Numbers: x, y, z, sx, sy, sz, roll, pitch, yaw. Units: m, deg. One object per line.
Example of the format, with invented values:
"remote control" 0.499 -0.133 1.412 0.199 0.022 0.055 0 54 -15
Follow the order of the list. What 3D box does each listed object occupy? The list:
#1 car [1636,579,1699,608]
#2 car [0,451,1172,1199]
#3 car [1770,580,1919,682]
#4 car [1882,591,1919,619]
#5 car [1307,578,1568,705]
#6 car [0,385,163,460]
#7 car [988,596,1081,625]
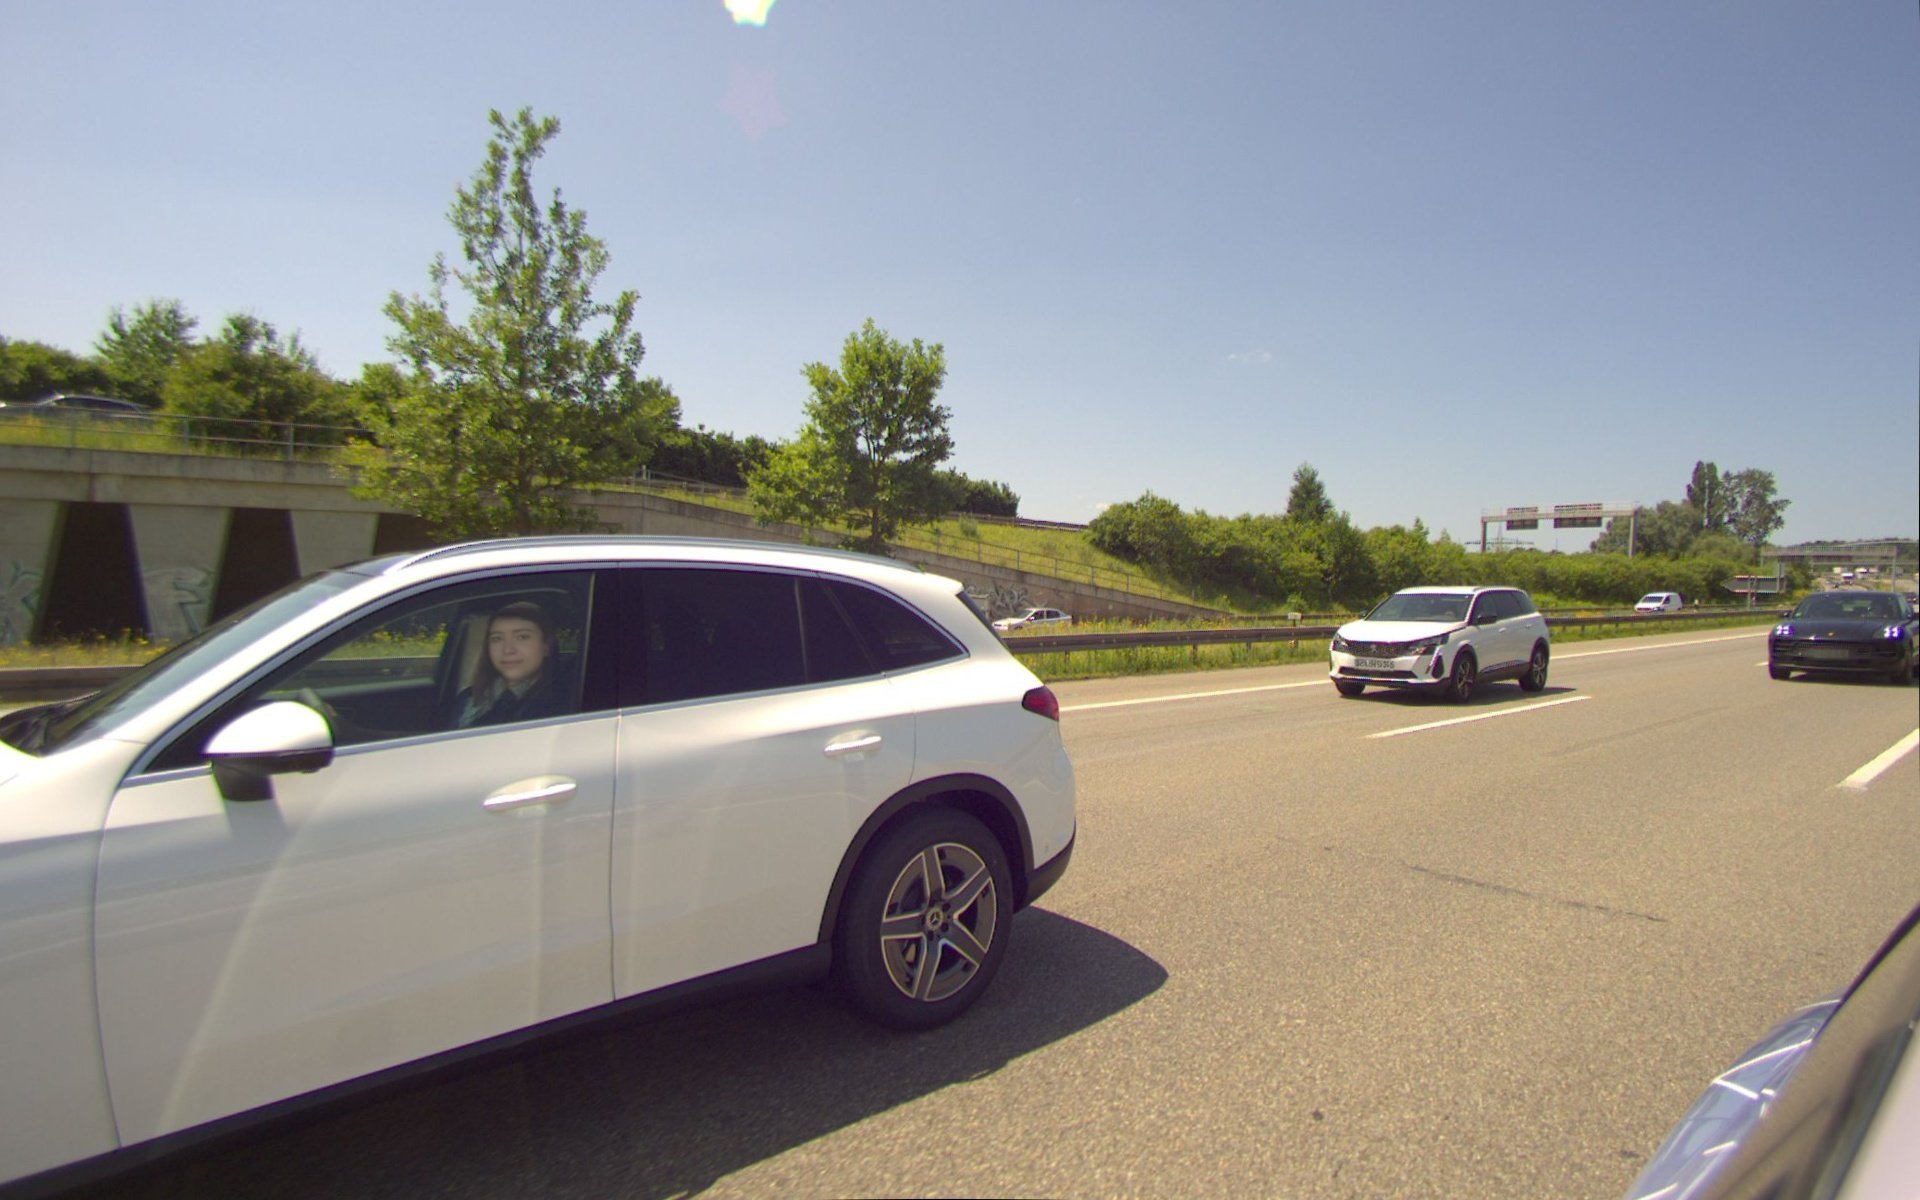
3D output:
"car" 53.113 -0.497 75.955 4.666 2.039 2.003 0 1 -28
"car" -1.493 0.540 3.323 4.555 1.676 1.908 0 1 -41
"car" 16.581 0.468 18.612 4.538 1.650 1.980 -1 1 -42
"car" 52.120 0.251 55.843 1.748 1.489 3.936 1 1 44
"car" 7.321 0.506 15.319 4.536 1.650 1.897 -1 1 -41
"car" -29.299 -5.819 33.512 4.451 1.830 1.995 -1 1 -43
"car" 3.519 0.471 47.855 3.995 1.296 1.902 0 1 -28
